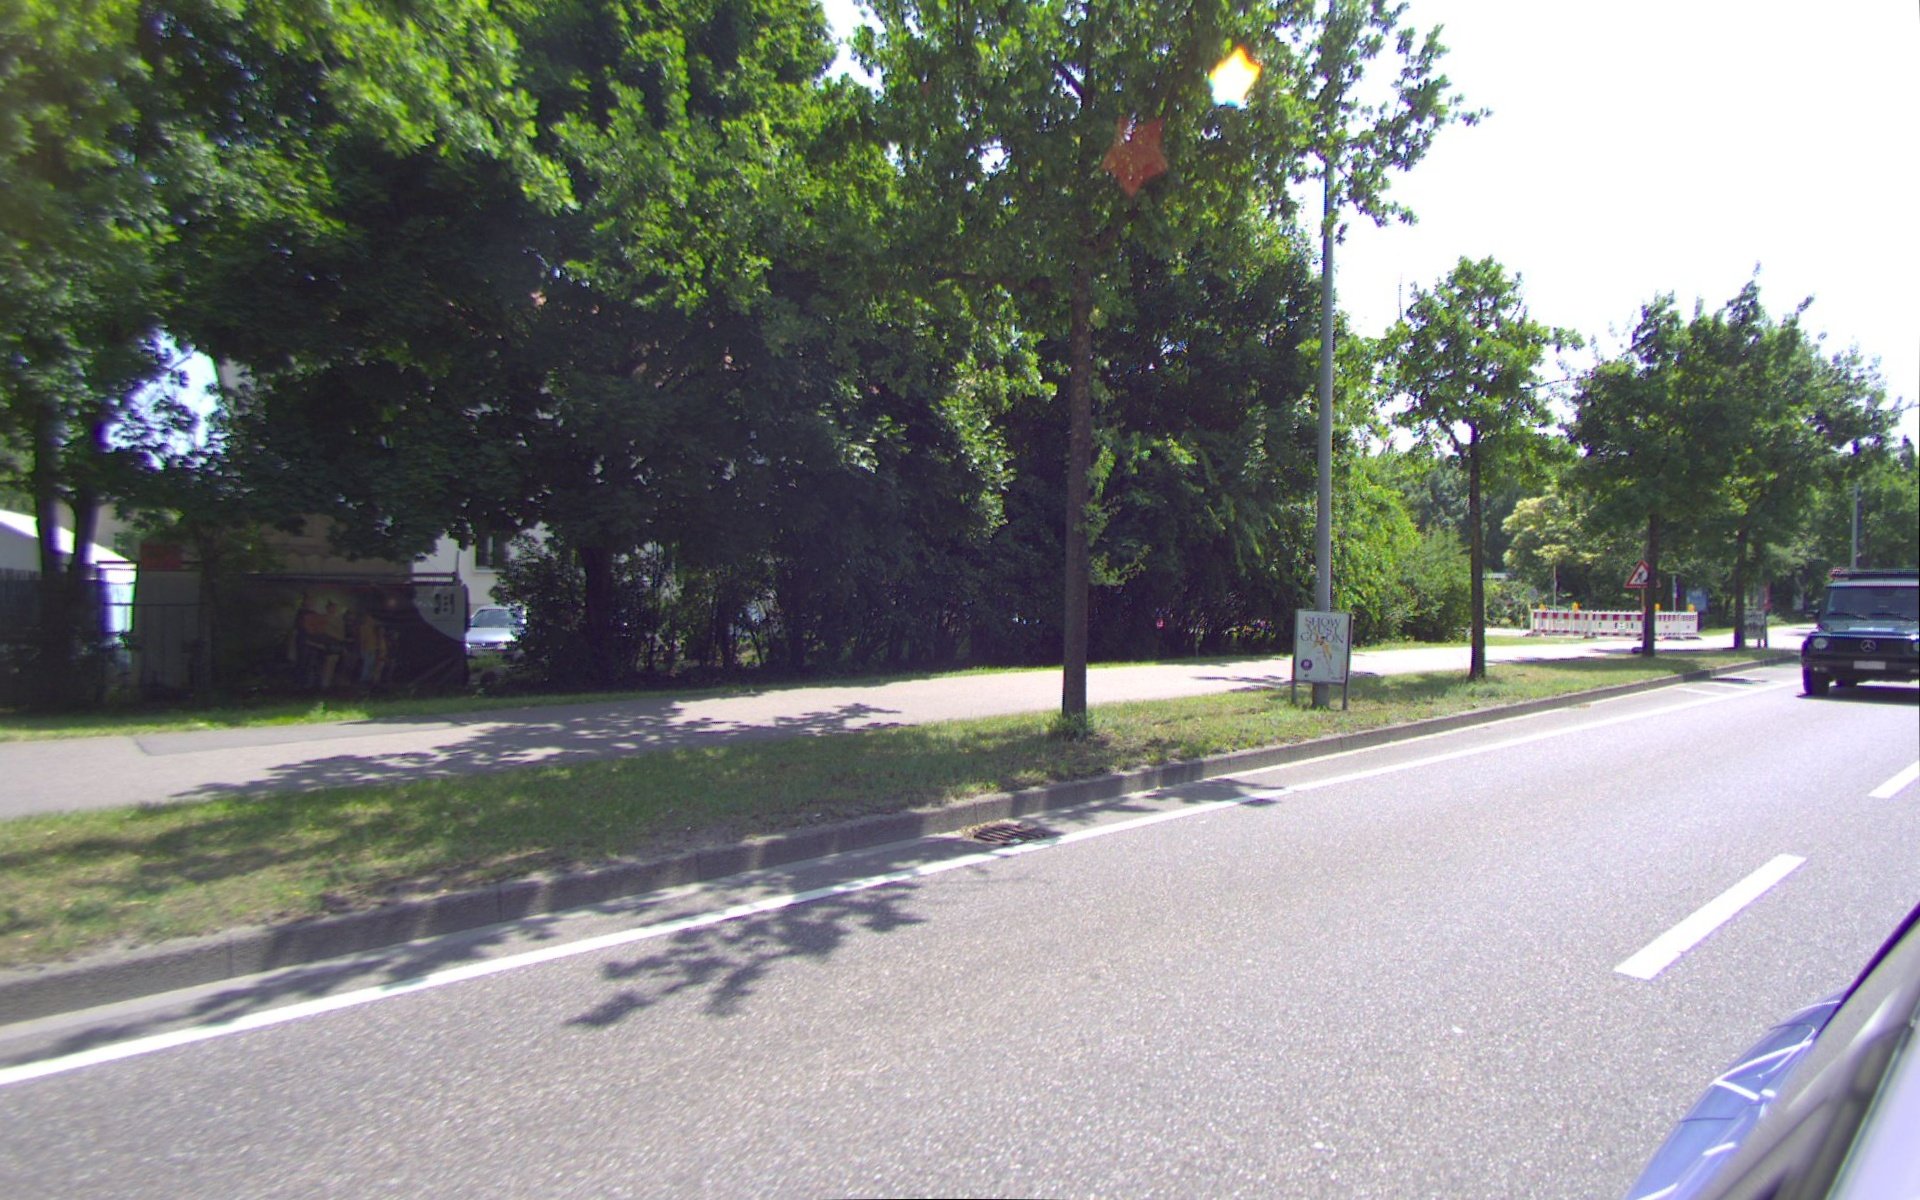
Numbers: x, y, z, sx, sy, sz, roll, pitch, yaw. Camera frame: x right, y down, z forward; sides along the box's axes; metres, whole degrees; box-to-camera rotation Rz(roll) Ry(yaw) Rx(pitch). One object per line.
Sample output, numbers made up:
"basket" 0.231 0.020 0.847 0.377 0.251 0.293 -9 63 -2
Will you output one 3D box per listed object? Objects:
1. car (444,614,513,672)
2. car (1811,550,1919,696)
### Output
"car" -10.866 0.924 22.897 1.307 1.104 3.199 0 1 -25
"car" 15.814 0.324 16.926 4.480 2.180 1.839 0 1 -42
